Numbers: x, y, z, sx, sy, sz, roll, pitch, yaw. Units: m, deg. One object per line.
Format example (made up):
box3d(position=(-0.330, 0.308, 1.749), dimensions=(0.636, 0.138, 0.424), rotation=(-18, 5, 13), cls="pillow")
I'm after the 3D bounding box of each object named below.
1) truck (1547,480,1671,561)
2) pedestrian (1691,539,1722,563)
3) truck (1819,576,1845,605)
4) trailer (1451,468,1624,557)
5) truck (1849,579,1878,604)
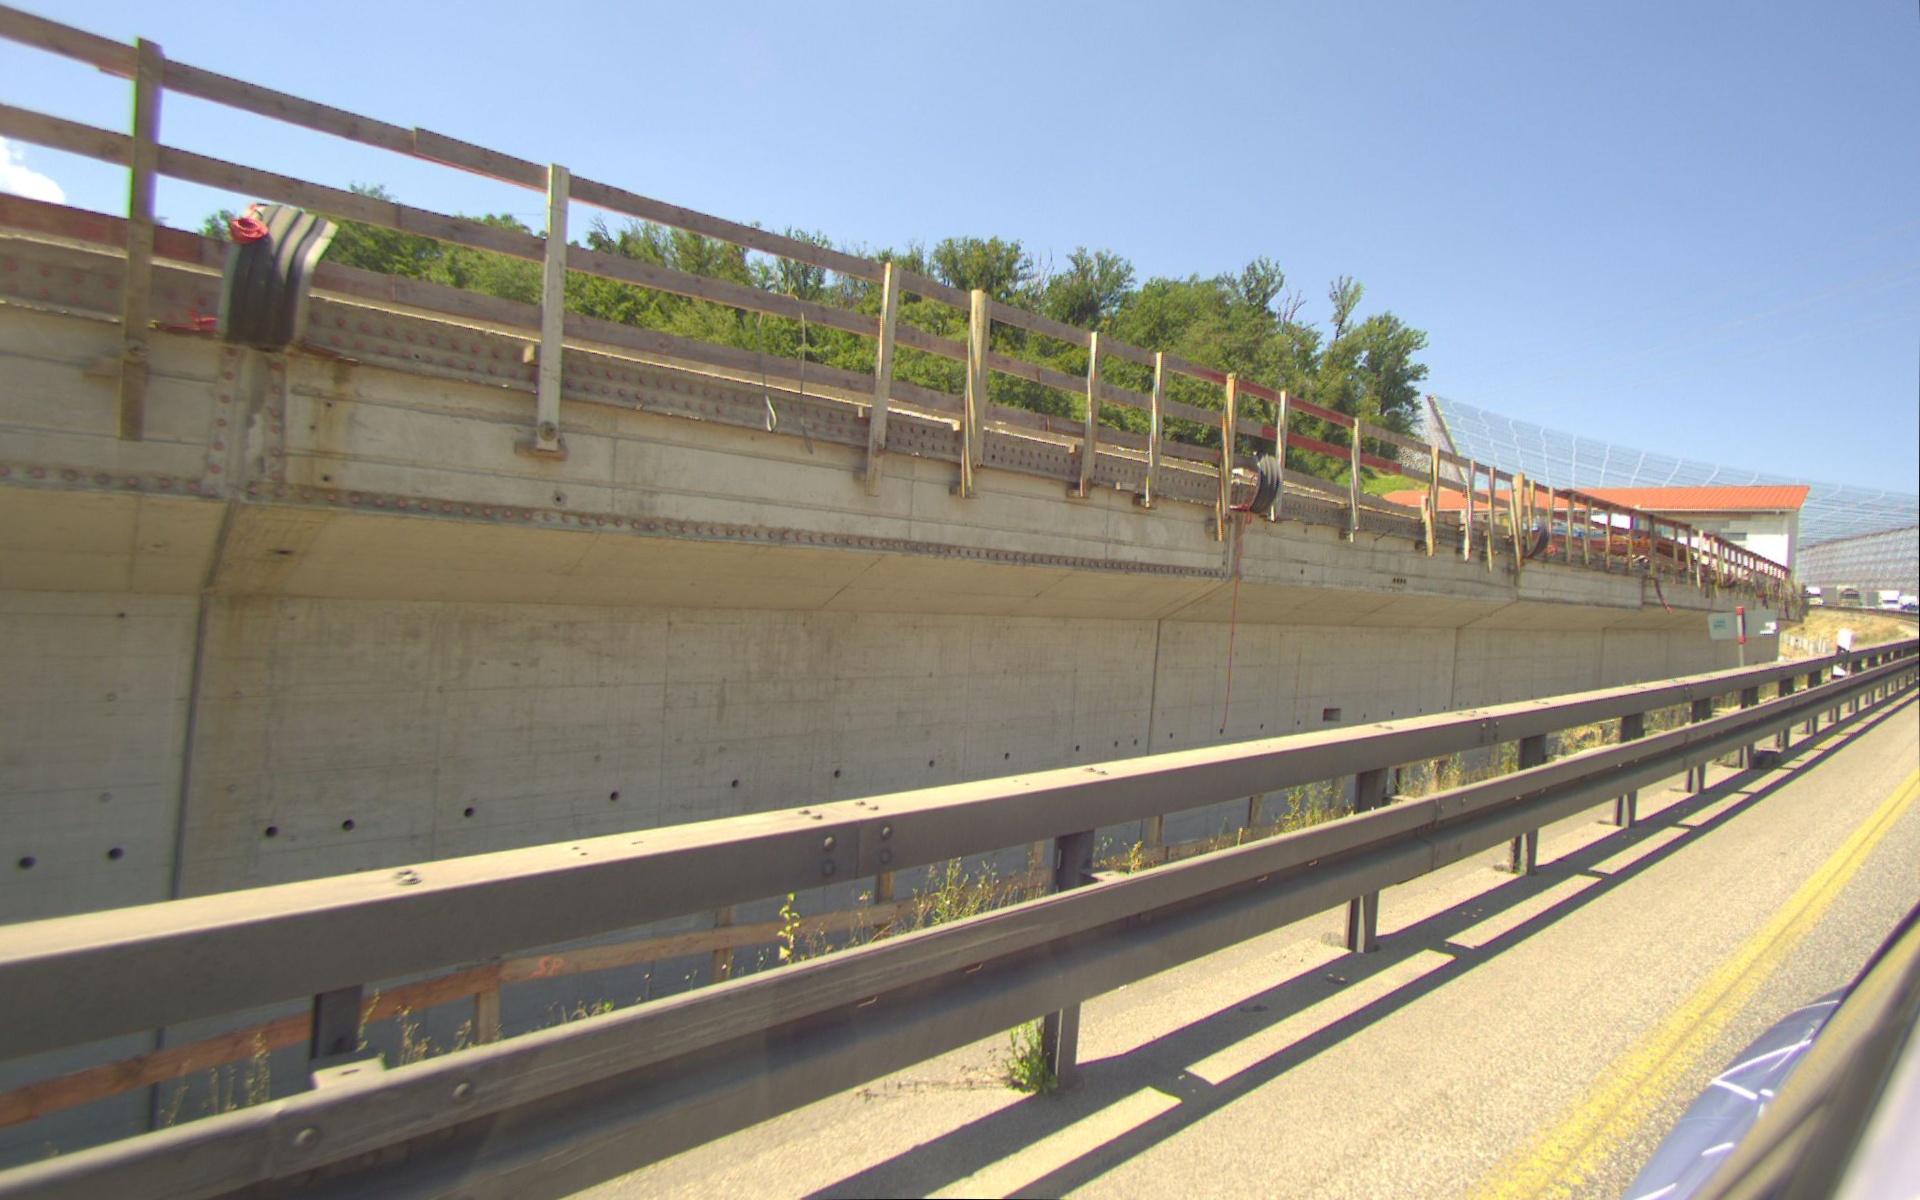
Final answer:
box3d(position=(34.910, -4.191, 54.472), dimensions=(5.590, 3.741, 2.725), rotation=(3, -1, -21), cls="truck")
box3d(position=(37.364, -2.445, 50.671), dimensions=(0.976, 1.165, 1.022), rotation=(-1, 1, -38), cls="pedestrian")
box3d(position=(150.305, -1.607, 174.507), dimensions=(3.027, 4.865, 8.820), rotation=(0, 1, 38), cls="truck")
box3d(position=(30.026, -4.414, 52.561), dimensions=(8.806, 3.741, 2.725), rotation=(3, -1, -21), cls="trailer")
box3d(position=(154.100, -1.538, 172.727), dimensions=(3.027, 4.107, 8.557), rotation=(0, 1, 38), cls="truck")
